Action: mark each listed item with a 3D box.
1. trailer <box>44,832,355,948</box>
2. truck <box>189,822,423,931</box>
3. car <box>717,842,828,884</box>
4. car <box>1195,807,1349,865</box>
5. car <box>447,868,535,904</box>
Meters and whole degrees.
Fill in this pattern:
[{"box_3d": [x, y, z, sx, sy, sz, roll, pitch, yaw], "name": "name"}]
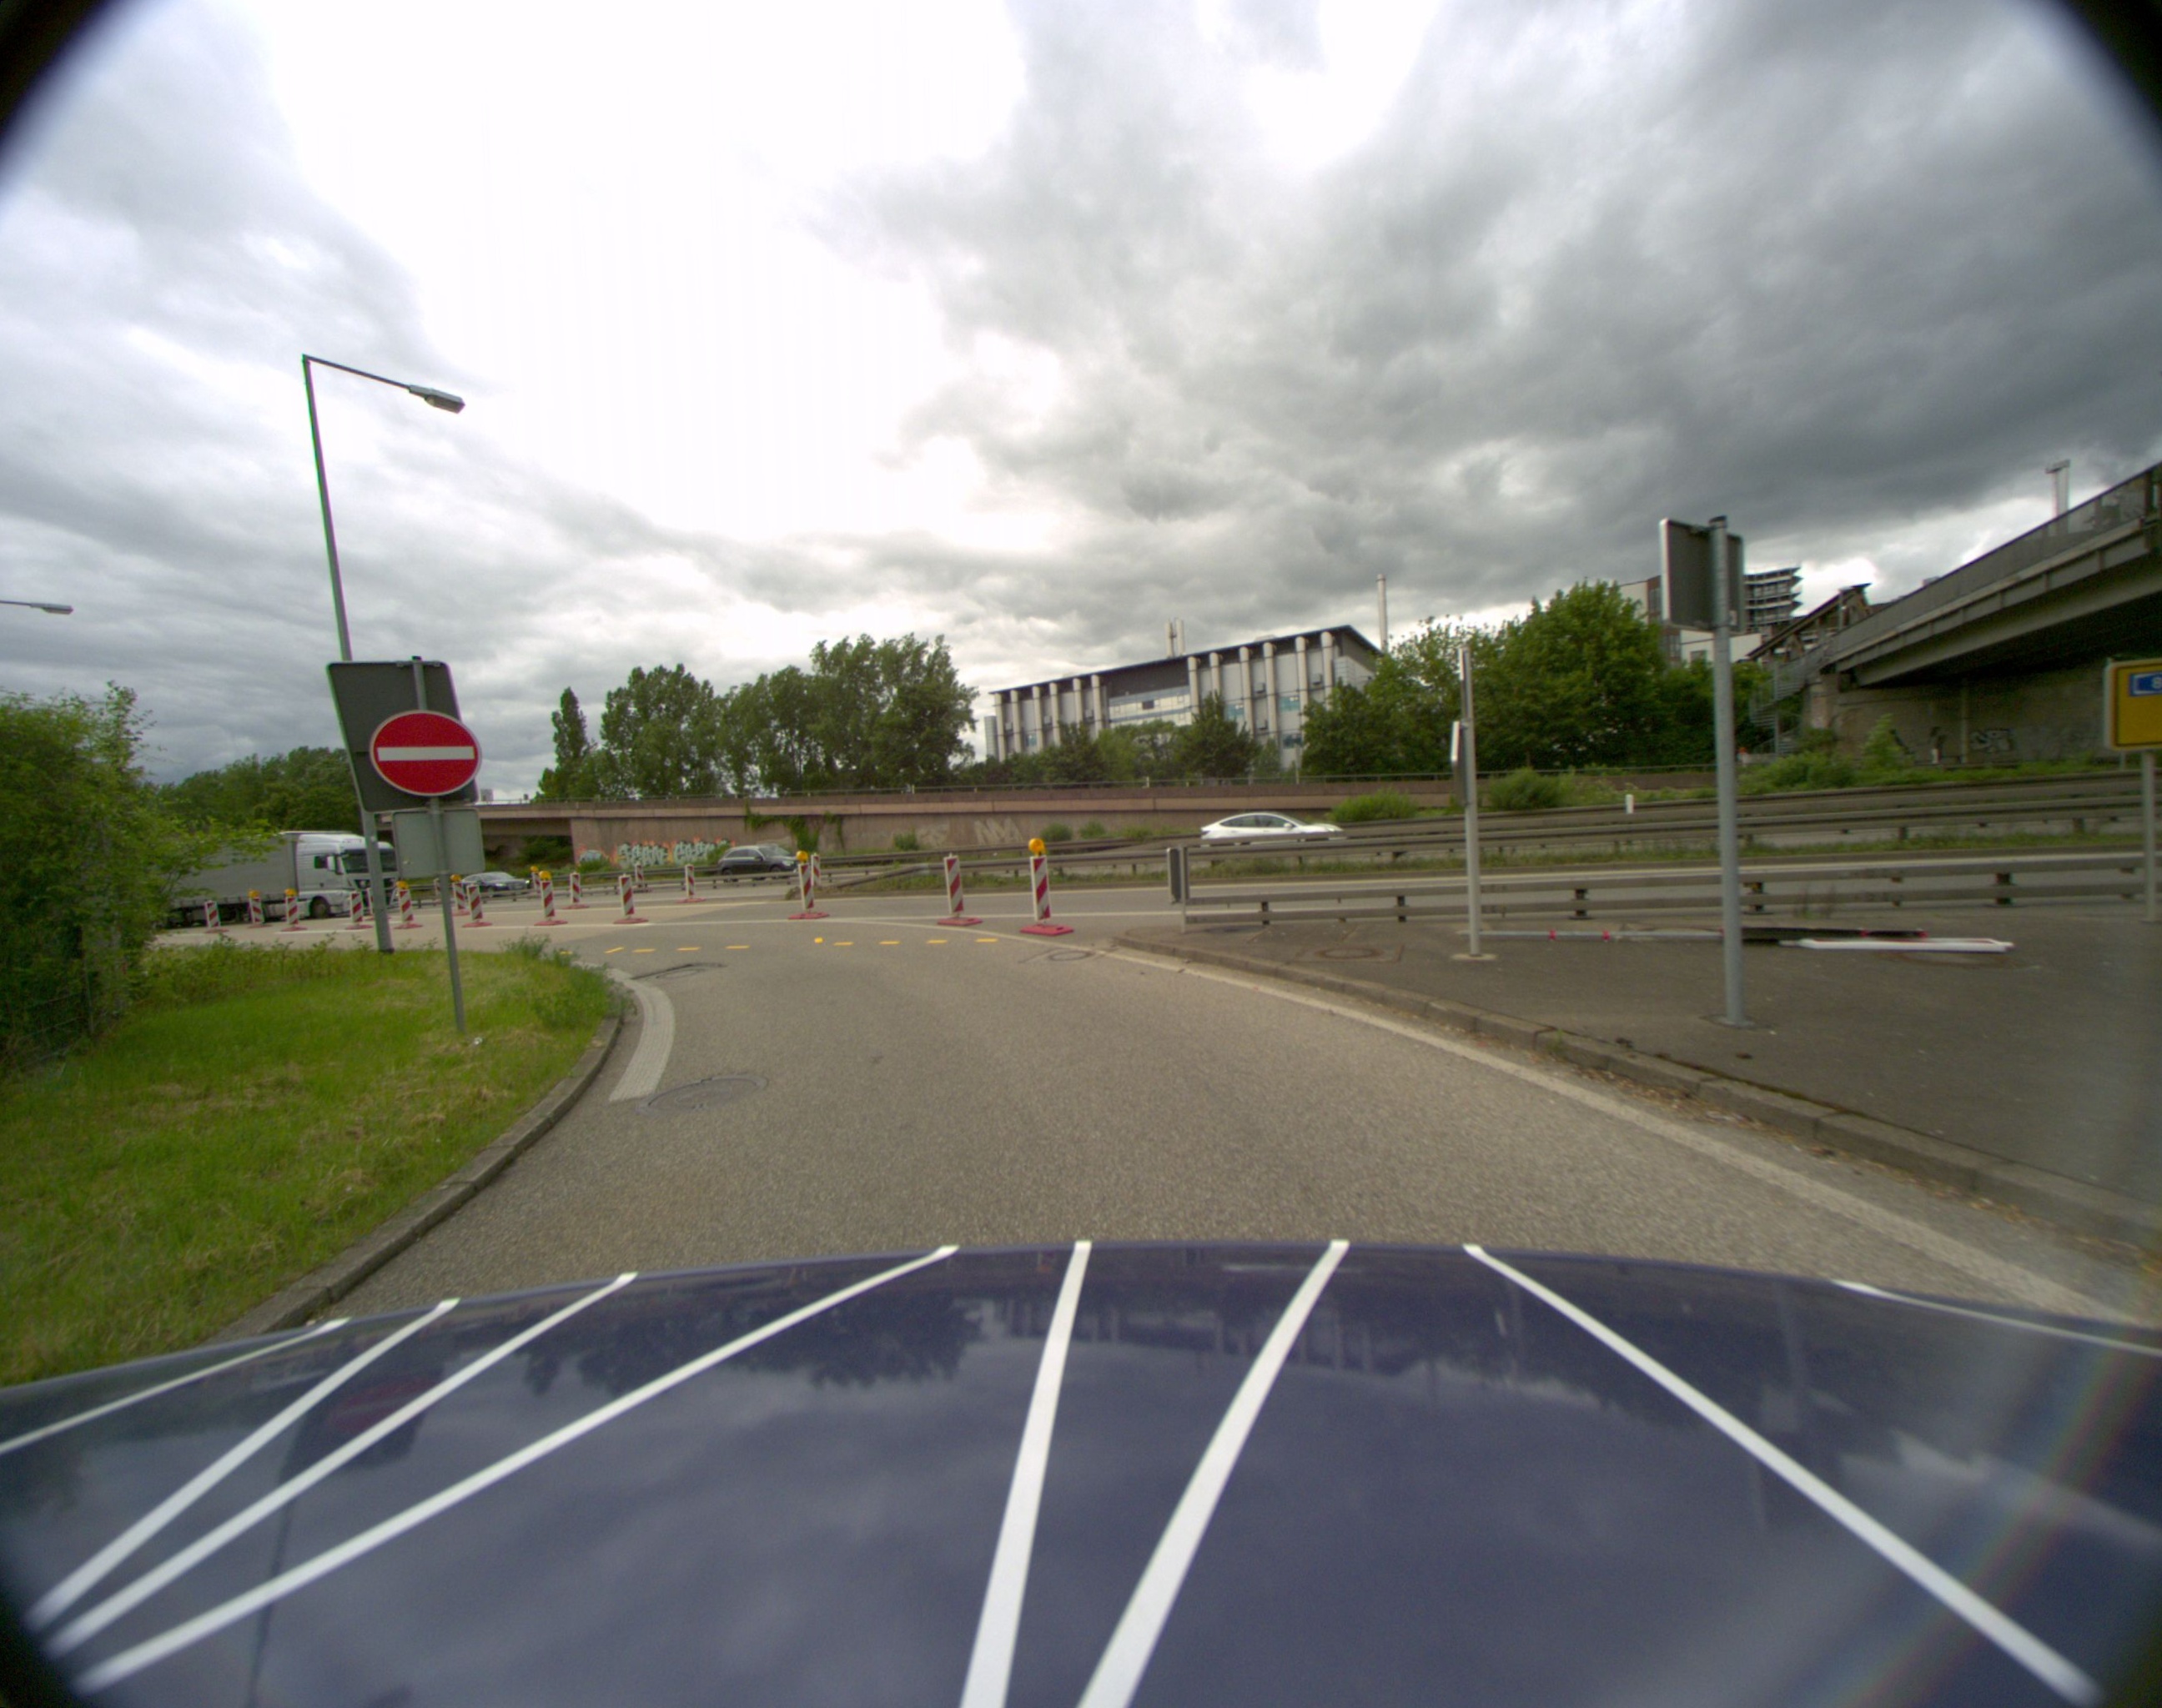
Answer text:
[{"box_3d": [-41.961, 1.698, 36.235, 13.243, 4.302, 3.166, -4, 4, 12], "name": "trailer"}, {"box_3d": [-35.556, 1.014, 34.975, 8.128, 4.110, 3.164, -4, 5, 12], "name": "truck"}, {"box_3d": [-13.537, 0.409, 33.393, 4.282, 1.503, 1.983, -3, 3, 24], "name": "car"}, {"box_3d": [6.162, -0.578, 24.460, 4.449, 1.533, 2.002, -3, 3, 24], "name": "car"}, {"box_3d": [-32.381, 1.751, 41.717, 3.991, 1.694, 1.939, -3, 3, 21], "name": "car"}]
